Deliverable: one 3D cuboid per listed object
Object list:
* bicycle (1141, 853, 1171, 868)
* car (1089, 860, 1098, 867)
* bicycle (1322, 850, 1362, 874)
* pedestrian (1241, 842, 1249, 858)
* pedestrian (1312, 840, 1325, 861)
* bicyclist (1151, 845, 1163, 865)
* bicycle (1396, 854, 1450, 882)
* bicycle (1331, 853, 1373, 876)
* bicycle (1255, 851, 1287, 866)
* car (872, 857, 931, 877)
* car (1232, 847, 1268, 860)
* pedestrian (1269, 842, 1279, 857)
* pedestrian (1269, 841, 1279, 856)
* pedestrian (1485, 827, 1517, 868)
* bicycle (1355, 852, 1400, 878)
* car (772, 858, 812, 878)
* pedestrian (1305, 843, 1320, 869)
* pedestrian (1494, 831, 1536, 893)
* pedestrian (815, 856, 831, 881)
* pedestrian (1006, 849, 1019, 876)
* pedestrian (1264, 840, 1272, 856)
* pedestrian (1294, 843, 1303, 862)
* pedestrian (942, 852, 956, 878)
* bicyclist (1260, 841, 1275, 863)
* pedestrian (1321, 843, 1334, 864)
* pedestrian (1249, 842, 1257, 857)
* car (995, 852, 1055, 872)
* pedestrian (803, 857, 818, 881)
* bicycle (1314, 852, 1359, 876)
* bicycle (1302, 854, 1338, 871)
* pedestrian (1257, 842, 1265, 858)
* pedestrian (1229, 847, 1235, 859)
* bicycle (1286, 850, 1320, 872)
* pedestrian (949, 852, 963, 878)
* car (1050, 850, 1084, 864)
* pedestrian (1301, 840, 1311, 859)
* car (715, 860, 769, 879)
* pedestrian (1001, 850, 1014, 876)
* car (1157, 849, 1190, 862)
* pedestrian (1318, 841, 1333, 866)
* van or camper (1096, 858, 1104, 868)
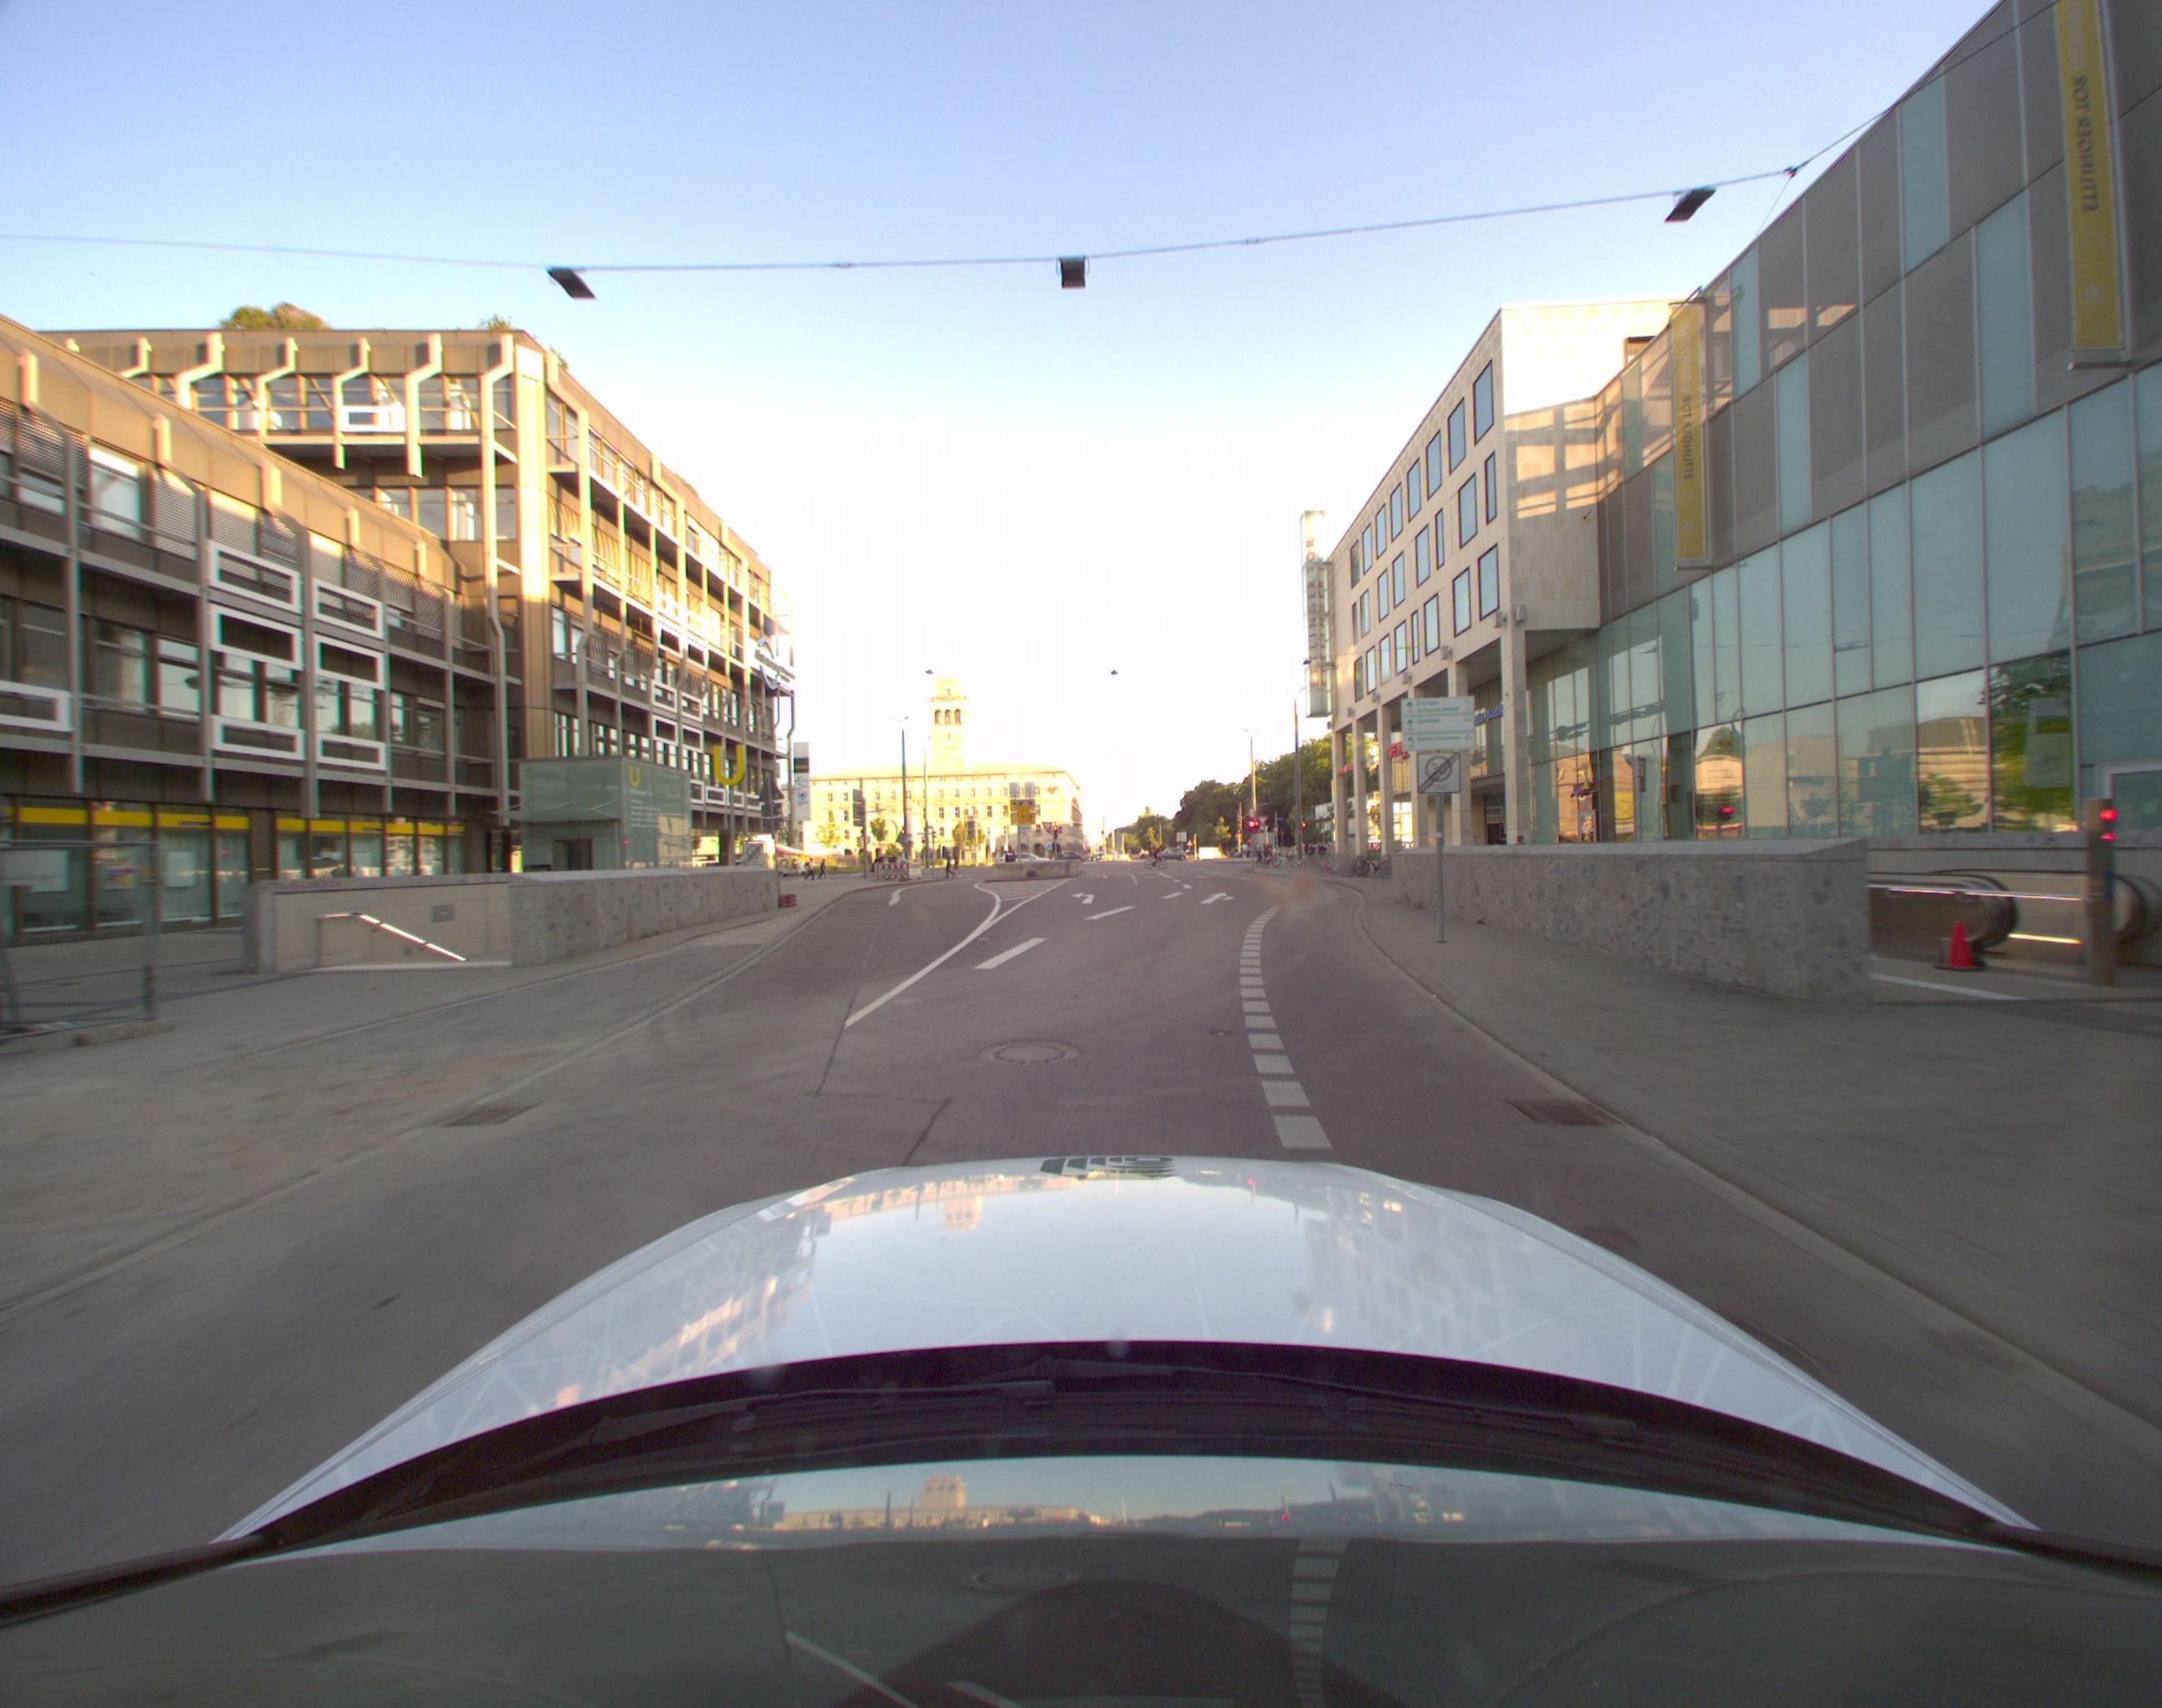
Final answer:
[{"bbox_3d":[5.726,0.518,61.975,2.232,1.062,0.654,-2,0,4],"label":"bicycle"},{"bbox_3d":[3.001,2.240,194.313,1.984,1.519,4.005,-2,0,5],"label":"car"},{"bbox_3d":[13.492,0.414,42.168,1.860,1.260,0.674,0,0,1],"label":"bicycle"},{"bbox_3d":[18.448,-0.484,91.549,0.805,1.730,0.688,-2,0,1],"label":"pedestrian"},{"bbox_3d":[19.896,-0.327,68.130,0.888,1.730,0.689,-2,0,7],"label":"pedestrian"},{"bbox_3d":[5.781,0.078,61.973,0.875,1.531,0.654,-2,0,4],"label":"bicyclist"},{"bbox_3d":[12.528,0.511,29.838,1.732,0.936,0.516,-2,0,1],"label":"bicycle"},{"bbox_3d":[13.433,0.493,40.388,1.861,1.113,0.571,0,0,6],"label":"bicycle"},{"bbox_3d":[14.412,0.371,61.851,2.232,1.062,0.654,-2,0,4],"label":"bicycle"},{"bbox_3d":[-15.214,1.118,69.231,4.443,1.496,2.129,-2,0,2],"label":"car"},{"bbox_3d":[20.690,-0.089,99.701,3.973,1.453,1.541,-2,0,-9],"label":"car"},{"bbox_3d":[22.027,-0.512,93.053,0.690,1.730,0.803,-2,0,-30],"label":"pedestrian"},{"bbox_3d":[21.722,-0.620,91.749,0.812,1.730,0.683,-2,0,-23],"label":"pedestrian"},{"bbox_3d":[19.012,-0.280,36.862,0.857,1.777,0.991,-3,0,2],"label":"pedestrian"},{"bbox_3d":[13.088,0.484,35.992,1.805,1.100,0.602,1,0,10],"label":"bicycle"},{"bbox_3d":[-26.279,1.250,74.075,3.132,1.685,1.606,-2,0,-11],"label":"car"},{"bbox_3d":[16.775,0.152,59.032,0.857,1.777,0.741,-4,0,4],"label":"pedestrian"},{"bbox_3d":[12.488,0.224,23.453,0.830,1.735,0.822,-2,0,10],"label":"pedestrian"},{"bbox_3d":[-19.349,1.098,61.068,0.744,1.777,0.853,-4,0,-38],"label":"pedestrian"},{"bbox_3d":[-4.581,0.561,54.361,0.738,1.777,0.860,-3,0,-9],"label":"pedestrian"},{"bbox_3d":[21.056,-0.692,91.680,0.802,1.730,0.691,-2,0,15],"label":"pedestrian"},{"bbox_3d":[19.543,-0.142,73.210,0.688,1.730,0.742,-2,0,5],"label":"pedestrian"},{"bbox_3d":[-9.335,0.787,57.602,0.736,1.777,0.863,-4,0,0],"label":"pedestrian"},{"bbox_3d":[14.144,-0.136,61.864,1.015,1.621,0.654,-2,0,4],"label":"bicyclist"},{"bbox_3d":[20.949,-0.072,69.123,0.888,1.730,0.689,-2,0,7],"label":"pedestrian"},{"bbox_3d":[19.374,-0.515,91.778,0.805,1.730,0.688,-2,0,1],"label":"pedestrian"},{"bbox_3d":[-4.712,0.656,68.654,4.777,1.496,2.129,-2,0,2],"label":"car"},{"bbox_3d":[-20.312,1.131,61.105,0.744,1.777,0.854,-4,0,-33],"label":"pedestrian"},{"bbox_3d":[11.725,0.475,37.460,1.887,1.047,0.572,-2,0,7],"label":"bicycle"},{"bbox_3d":[13.720,0.469,46.796,1.860,0.936,0.516,-2,0,1],"label":"bicycle"},{"bbox_3d":[20.519,-0.442,92.633,0.802,1.730,0.691,-2,0,15],"label":"pedestrian"},{"bbox_3d":[23.854,-0.163,128.767,0.805,1.730,0.929,-2,0,1],"label":"pedestrian"},{"bbox_3d":[12.880,0.387,47.225,1.802,1.212,0.573,-2,0,18],"label":"bicycle"},{"bbox_3d":[-8.973,0.775,58.501,0.736,1.777,0.863,-4,0,0],"label":"pedestrian"},{"bbox_3d":[-1.693,0.316,96.420,3.979,1.494,1.826,-2,0,-4],"label":"car"},{"bbox_3d":[20.840,-0.395,75.462,0.829,1.730,0.691,-2,0,19],"label":"pedestrian"},{"bbox_3d":[-30.847,1.387,74.109,4.175,1.592,1.693,-2,0,-6],"label":"car"},{"bbox_3d":[-4.963,0.592,55.158,0.740,1.777,0.859,-1,0,-16],"label":"pedestrian"},{"bbox_3d":[11.096,0.144,98.068,3.706,1.453,1.544,-2,0,-4],"label":"car"},{"bbox_3d":[17.662,-0.043,58.830,0.753,1.777,0.741,-4,0,4],"label":"pedestrian"},{"bbox_3d":[5.458,2.522,239.354,1.879,2.760,4.927,-2,0,-3],"label":"van or camper"}]
